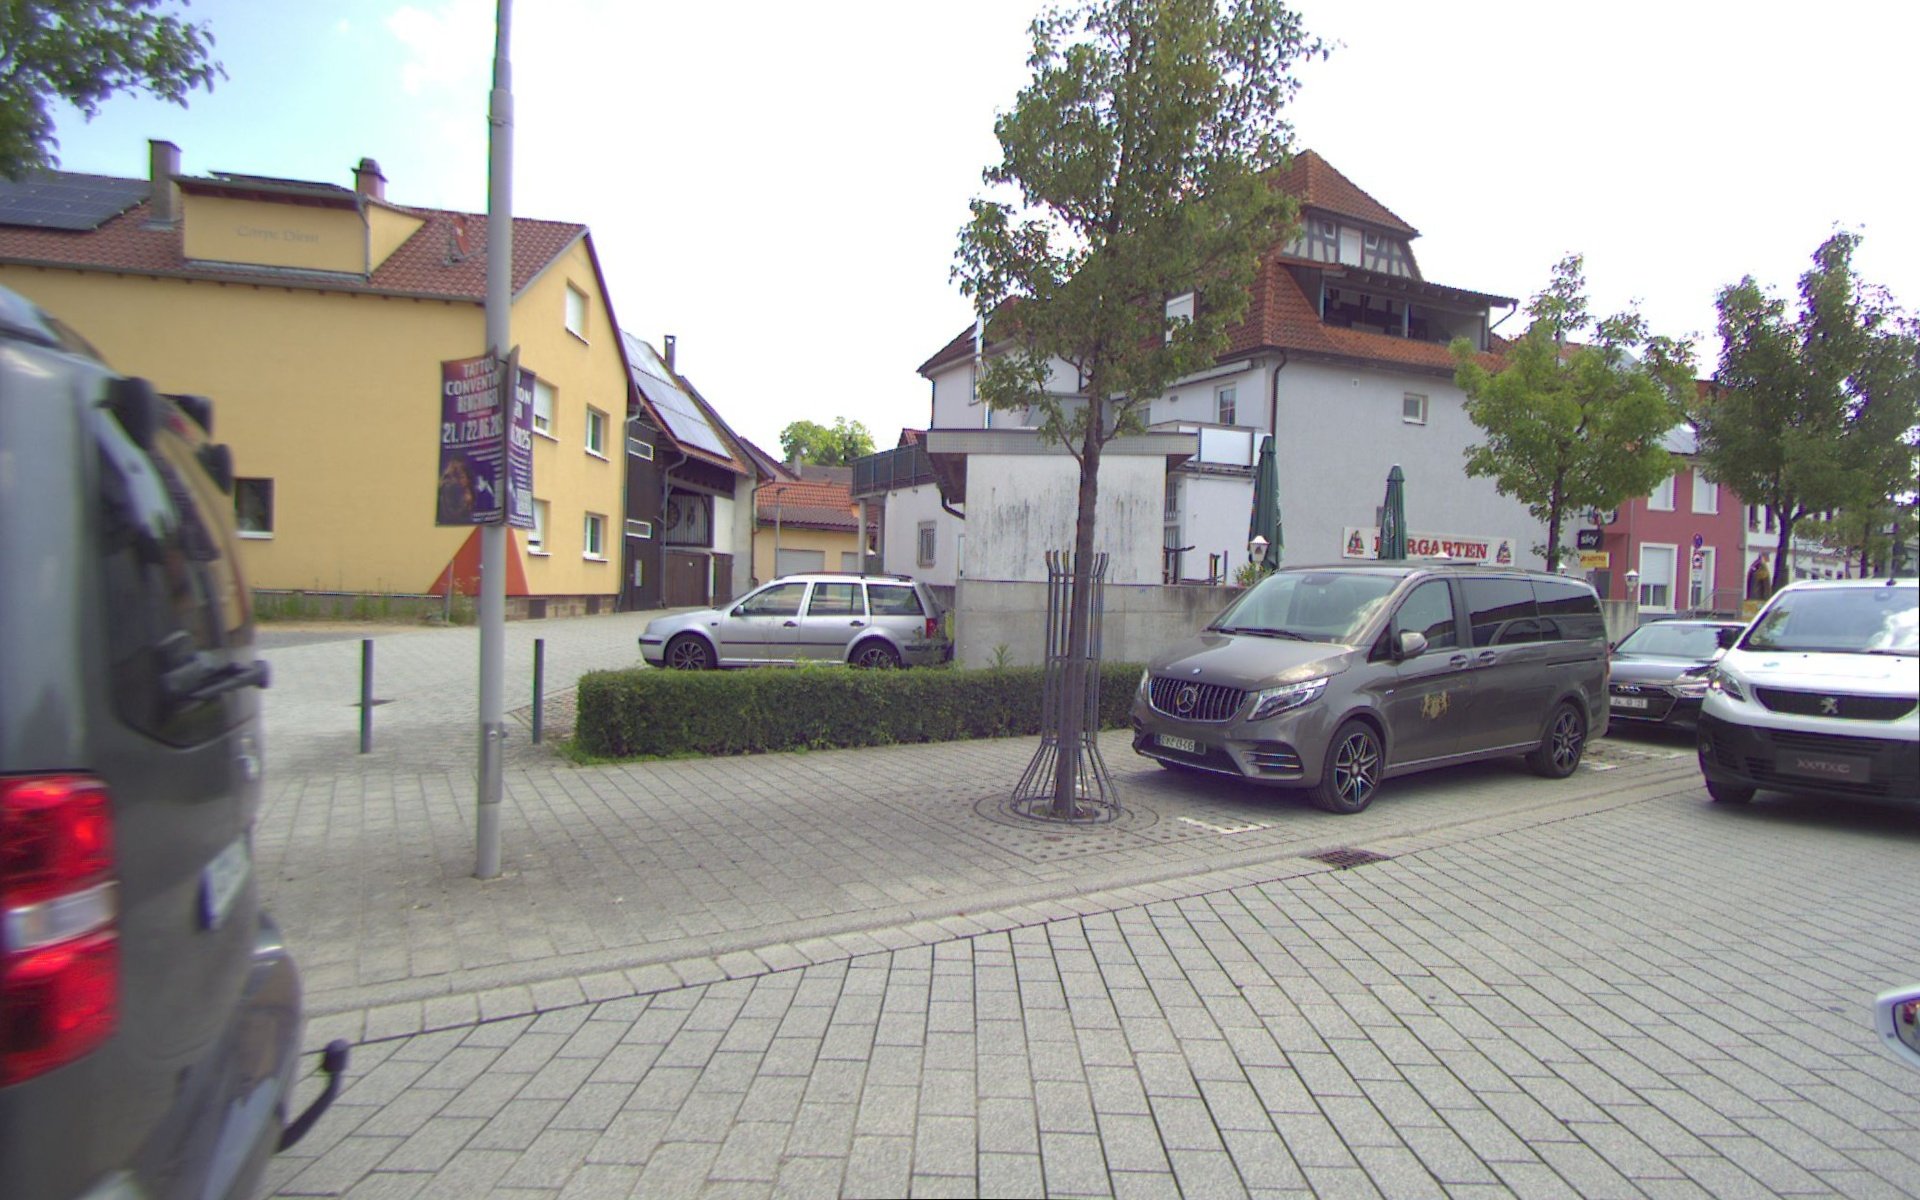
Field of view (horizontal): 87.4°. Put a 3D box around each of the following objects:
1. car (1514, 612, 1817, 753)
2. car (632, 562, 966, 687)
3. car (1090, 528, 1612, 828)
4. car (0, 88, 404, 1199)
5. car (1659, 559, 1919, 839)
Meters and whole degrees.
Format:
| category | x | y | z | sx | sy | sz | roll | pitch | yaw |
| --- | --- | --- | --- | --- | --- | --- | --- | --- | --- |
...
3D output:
| category | x | y | z | sx | sy | sz | roll | pitch | yaw |
| --- | --- | --- | --- | --- | --- | --- | --- | --- | --- |
| car | 9.077 | 0.924 | 12.788 | 4.494 | 1.442 | 1.803 | 1 | 1 | -36 |
| car | -2.117 | 0.288 | 14.162 | 4.349 | 1.516 | 1.999 | 1 | 3 | -1 |
| car | 3.679 | 0.538 | 9.015 | 4.996 | 2.017 | 1.972 | 1 | 1 | -36 |
| car | -3.342 | 0.366 | 1.145 | 4.681 | 2.040 | 1.985 | 1 | 0 | -29 |
| car | 8.187 | 0.701 | 8.721 | 4.819 | 1.905 | 1.980 | 1 | 1 | -36 |
